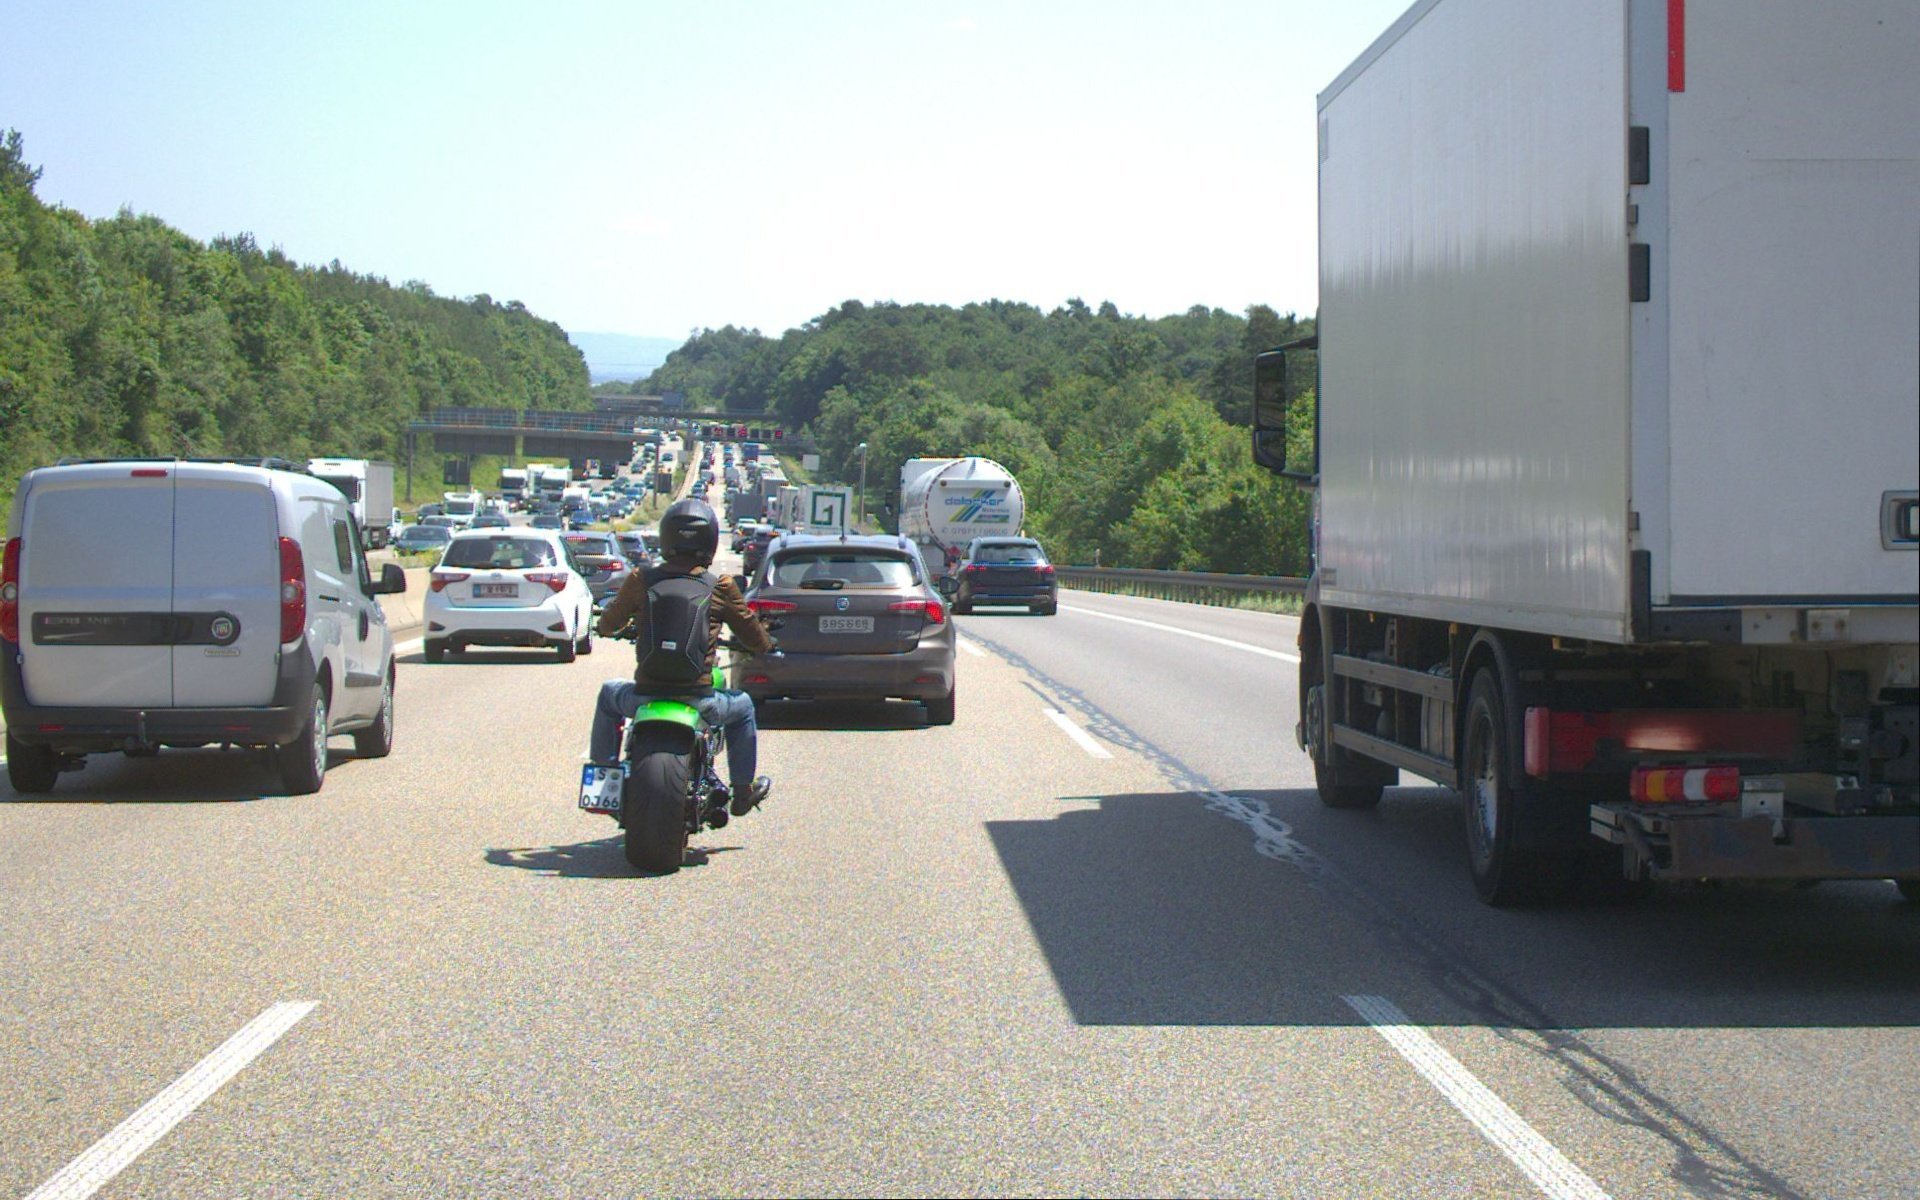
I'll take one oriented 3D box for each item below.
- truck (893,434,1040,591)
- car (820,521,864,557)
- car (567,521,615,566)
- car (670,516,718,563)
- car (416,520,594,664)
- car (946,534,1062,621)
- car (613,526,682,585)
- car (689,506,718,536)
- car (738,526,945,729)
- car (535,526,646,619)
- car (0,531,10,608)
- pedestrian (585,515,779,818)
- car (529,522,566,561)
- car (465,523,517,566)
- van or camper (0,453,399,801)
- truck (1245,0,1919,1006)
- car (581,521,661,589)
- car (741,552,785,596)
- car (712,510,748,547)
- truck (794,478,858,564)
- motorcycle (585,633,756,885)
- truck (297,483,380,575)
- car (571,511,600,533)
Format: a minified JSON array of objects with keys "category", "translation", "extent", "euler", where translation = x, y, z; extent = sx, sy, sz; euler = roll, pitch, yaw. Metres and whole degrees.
[{"category":"truck","translation":[0.063,-2.106,85.423],"extent":[2.987,3.659,9.289],"euler":[1,1,-4]},{"category":"car","translation":[-5.416,-2.815,157.513],"extent":[1.787,1.550,3.804],"euler":[3,1,-4]},{"category":"car","translation":[-16.959,-2.582,158.146],"extent":[1.993,2.007,4.001],"euler":[1,1,-3]},{"category":"car","translation":[-11.231,-2.571,145.415],"extent":[1.880,1.853,4.001],"euler":[3,1,-4]},{"category":"car","translation":[-5.156,-0.133,39.323],"extent":[1.699,1.473,4.001],"euler":[3,1,-4]},{"category":"car","translation":[0.806,-0.455,65.608],"extent":[1.828,1.465,4.001],"euler":[4,1,-4]},{"category":"car","translation":[-8.429,-1.222,92.985],"extent":[1.699,1.473,4.001],"euler":[3,1,-4]},{"category":"car","translation":[-17.979,-5.502,240.653],"extent":[1.929,2.007,4.001],"euler":[1,1,-3]},{"category":"car","translation":[-0.914,0.168,27.892],"extent":[1.532,1.504,4.000],"euler":[1,1,-1]},{"category":"car","translation":[-6.450,-0.515,60.323],"extent":[1.699,1.473,4.001],"euler":[3,1,-4]},{"category":"car","translation":[-21.171,-0.651,71.532],"extent":[1.739,1.634,4.188],"euler":[1,1,-1]},{"category":"pedestrian","translation":[-1.282,0.291,15.995],"extent":[0.849,1.357,0.962],"euler":[1,1,-3]},{"category":"car","translation":[-21.567,-3.048,179.787],"extent":[1.763,2.007,4.001],"euler":[1,1,-5]},{"category":"car","translation":[-19.155,-2.272,140.497],"extent":[1.683,1.692,4.659],"euler":[1,1,-3]},{"category":"van or camper","translation":[-4.552,0.126,20.920],"extent":[1.796,1.886,4.160],"euler":[1,1,-3]},{"category":"truck","translation":[3.270,-0.715,15.971],"extent":[2.688,3.863,9.781],"euler":[0,1,-2]},{"category":"car","translation":[-8.065,-1.088,82.086],"extent":[1.699,1.473,4.001],"euler":[3,1,-4]},{"category":"car","translation":[-6.725,-0.913,117.626],"extent":[1.392,1.458,2.779],"euler":[1,1,-1]},{"category":"car","translation":[-12.814,-3.989,191.359],"extent":[1.801,2.007,4.001],"euler":[1,1,-6]},{"category":"truck","translation":[-7.545,-4.453,192.674],"extent":[3.033,4.526,9.984],"euler":[4,1,-4]},{"category":"motorcycle","translation":[-1.304,0.694,15.826],"extent":[0.691,1.012,2.122],"euler":[1,1,-3]},{"category":"truck","translation":[-27.138,-3.069,150.331],"extent":[2.812,3.895,7.317],"euler":[1,1,-5]},{"category":"car","translation":[-26.018,-5.419,238.870],"extent":[1.710,1.532,4.129],"euler":[1,1,-2]}]
